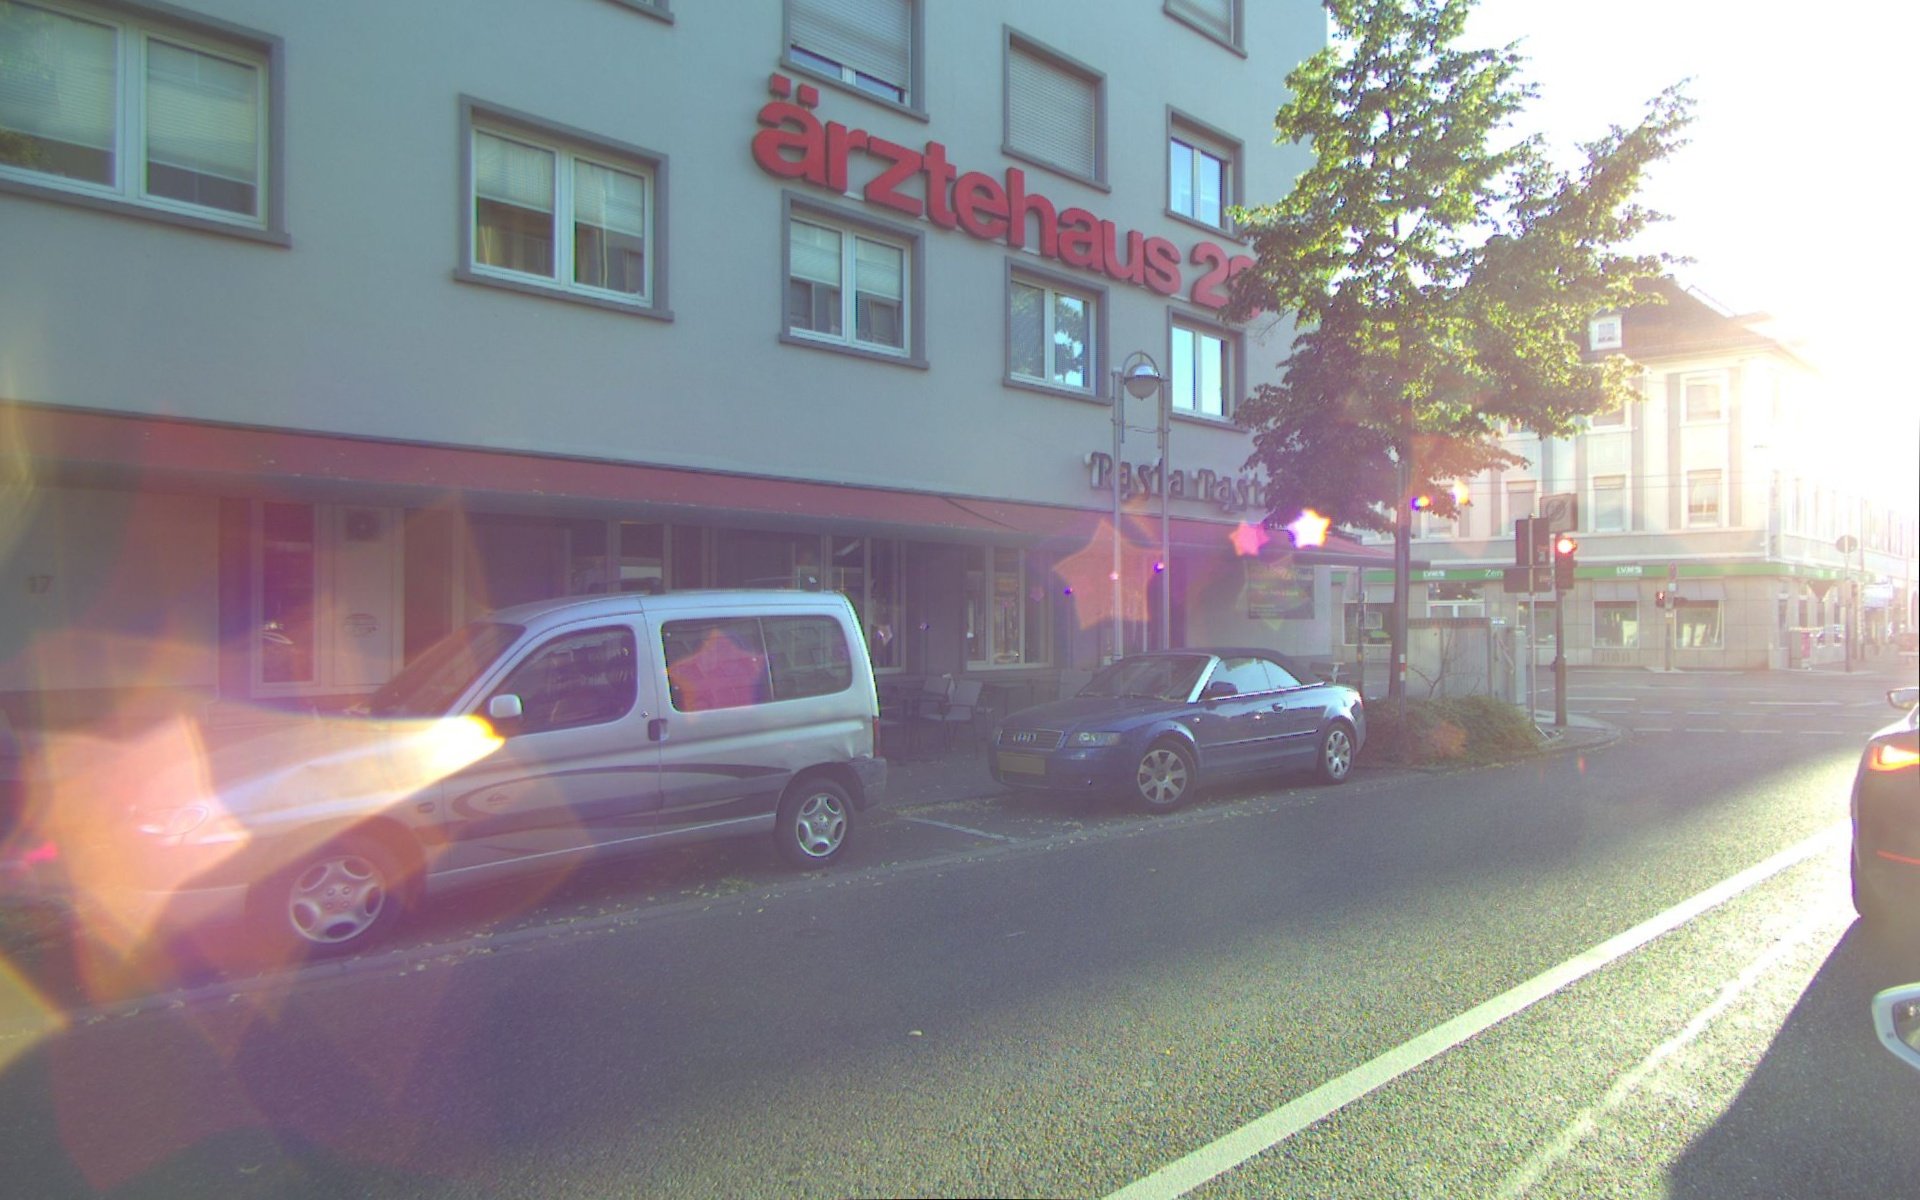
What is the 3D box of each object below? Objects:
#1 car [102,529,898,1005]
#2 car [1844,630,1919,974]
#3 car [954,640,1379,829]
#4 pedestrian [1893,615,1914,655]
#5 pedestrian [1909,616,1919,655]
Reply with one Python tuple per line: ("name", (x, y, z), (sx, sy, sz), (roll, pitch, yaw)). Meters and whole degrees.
("car", (-2.467, 0.756, 6.017), (4.022, 1.912, 1.655), (2, -4, -41))
("car", (6.071, 0.898, 5.109), (4.188, 1.447, 1.723), (1, -1, -39))
("car", (2.124, 1.124, 9.693), (4.244, 1.434, 1.710), (2, -4, -39))
("pedestrian", (46.329, 1.715, 49.342), (0.626, 1.901, 0.638), (1, 0, -38))
("pedestrian", (47.231, 1.735, 49.359), (0.609, 1.901, 0.674), (1, 0, -26))
